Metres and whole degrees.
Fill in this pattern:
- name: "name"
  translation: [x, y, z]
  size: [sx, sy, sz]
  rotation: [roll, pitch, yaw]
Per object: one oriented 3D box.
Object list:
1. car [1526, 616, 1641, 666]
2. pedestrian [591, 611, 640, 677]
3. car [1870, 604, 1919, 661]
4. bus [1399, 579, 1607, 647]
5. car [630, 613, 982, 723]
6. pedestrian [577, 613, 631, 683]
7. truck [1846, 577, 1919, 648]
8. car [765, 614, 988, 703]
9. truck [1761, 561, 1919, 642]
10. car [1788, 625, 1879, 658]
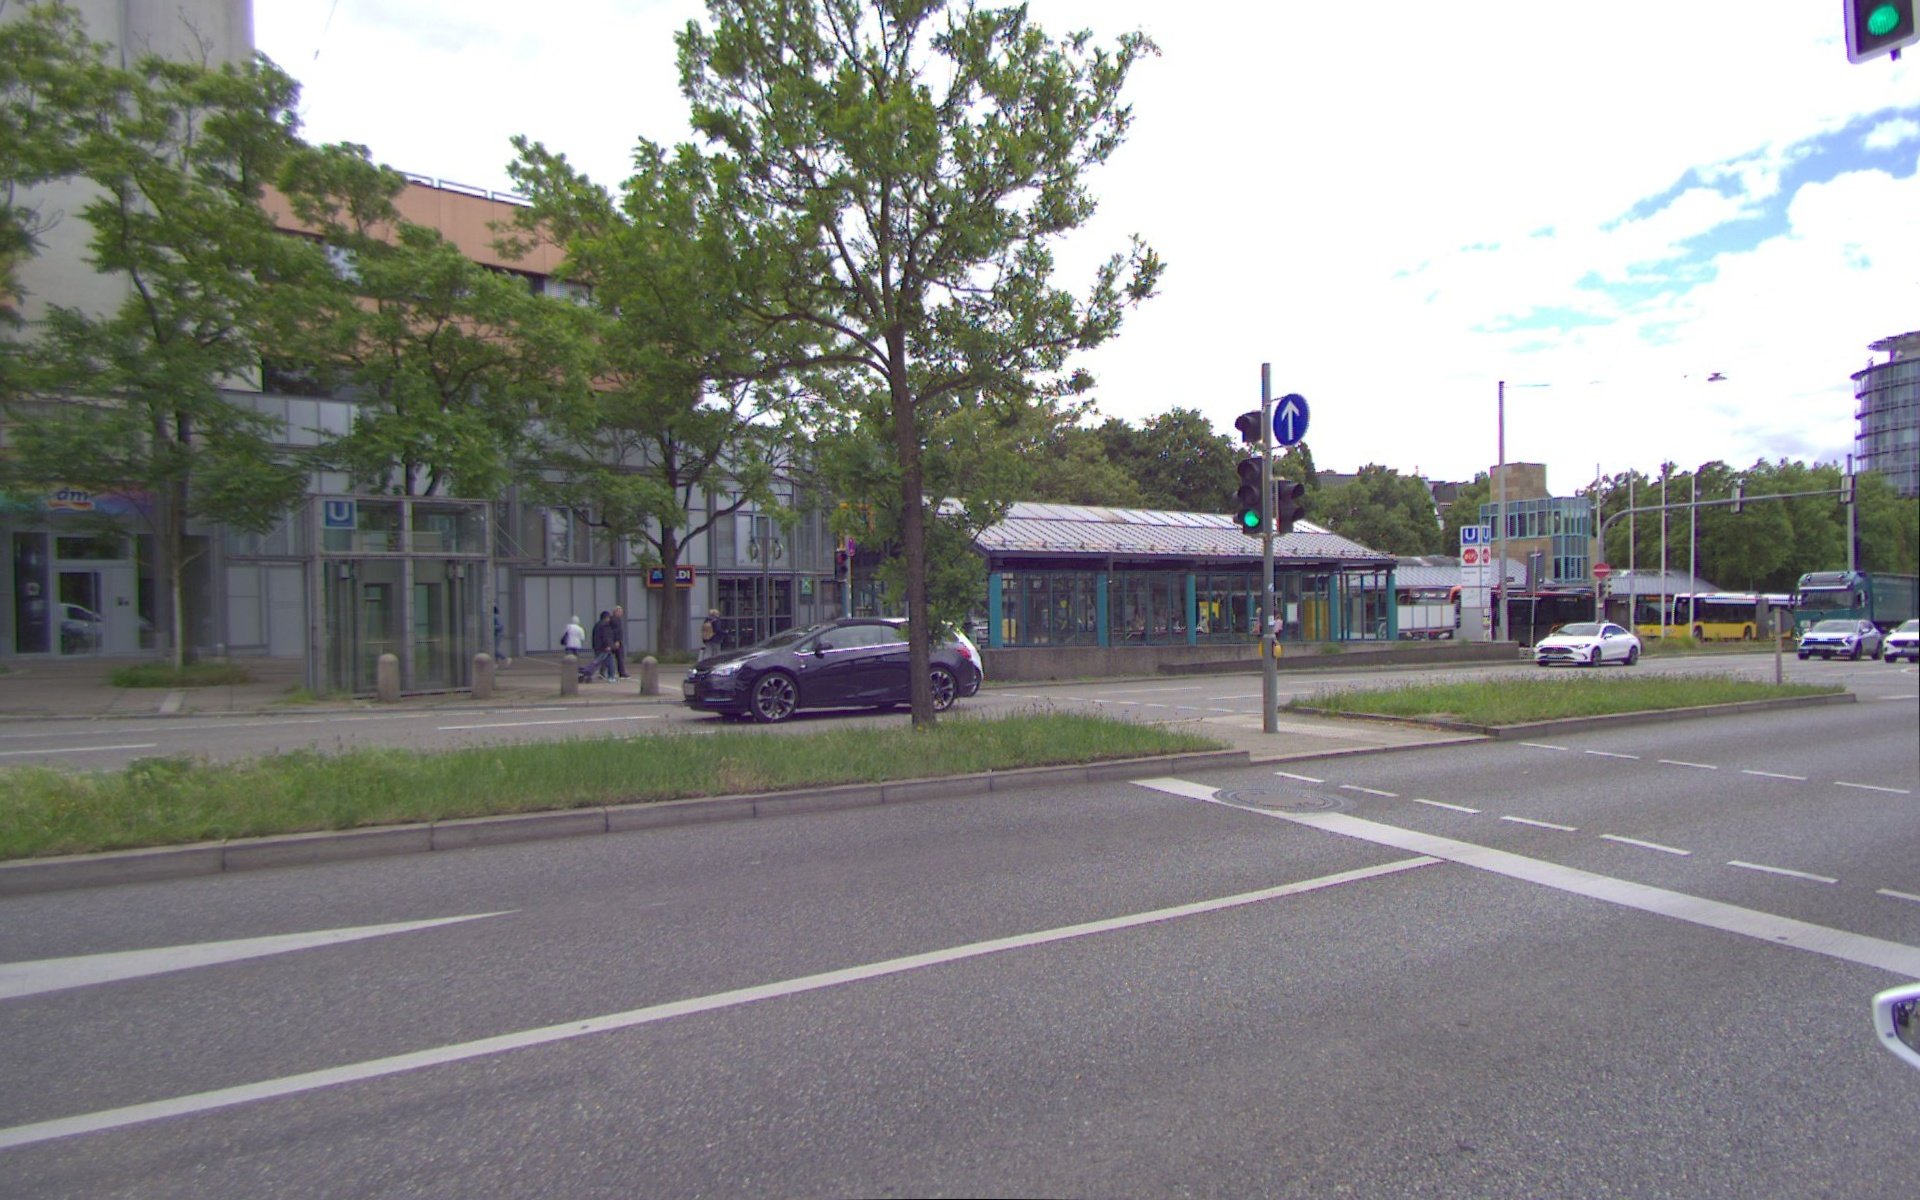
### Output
- name: "car"
  translation: [21.390, 1.373, 34.406]
  size: [4.461, 1.595, 1.721]
  rotation: [1, -1, -35]
- name: "pedestrian"
  translation: [-7.899, 0.991, 23.049]
  size: [0.592, 1.477, 0.869]
  rotation: [2, 0, 26]
- name: "car"
  translation: [35.555, 1.196, 37.156]
  size: [4.138, 2.040, 1.980]
  rotation: [1, -1, -36]
- name: "bus"
  translation: [27.872, 0.734, 51.333]
  size: [12.000, 3.175, 2.947]
  rotation: [1, 0, -26]
- name: "car"
  translation: [-2.196, 0.957, 15.071]
  size: [4.961, 1.416, 1.802]
  rotation: [1, -3, -35]
- name: "pedestrian"
  translation: [-7.745, 1.033, 21.853]
  size: [0.594, 1.477, 0.867]
  rotation: [1, -1, 38]
- name: "truck"
  translation: [53.901, 0.754, 57.025]
  size: [7.939, 3.776, 3.349]
  rotation: [1, -1, -33]
- name: "car"
  translation: [-1.554, 1.055, 19.278]
  size: [3.960, 1.537, 1.736]
  rotation: [1, -1, -35]
- name: "truck"
  translation: [45.059, 0.166, 51.182]
  size: [11.161, 3.777, 3.348]
  rotation: [1, 0, -34]
- name: "car"
  translation: [35.294, 1.645, 40.586]
  size: [3.958, 1.279, 1.819]
  rotation: [1, -1, -34]
